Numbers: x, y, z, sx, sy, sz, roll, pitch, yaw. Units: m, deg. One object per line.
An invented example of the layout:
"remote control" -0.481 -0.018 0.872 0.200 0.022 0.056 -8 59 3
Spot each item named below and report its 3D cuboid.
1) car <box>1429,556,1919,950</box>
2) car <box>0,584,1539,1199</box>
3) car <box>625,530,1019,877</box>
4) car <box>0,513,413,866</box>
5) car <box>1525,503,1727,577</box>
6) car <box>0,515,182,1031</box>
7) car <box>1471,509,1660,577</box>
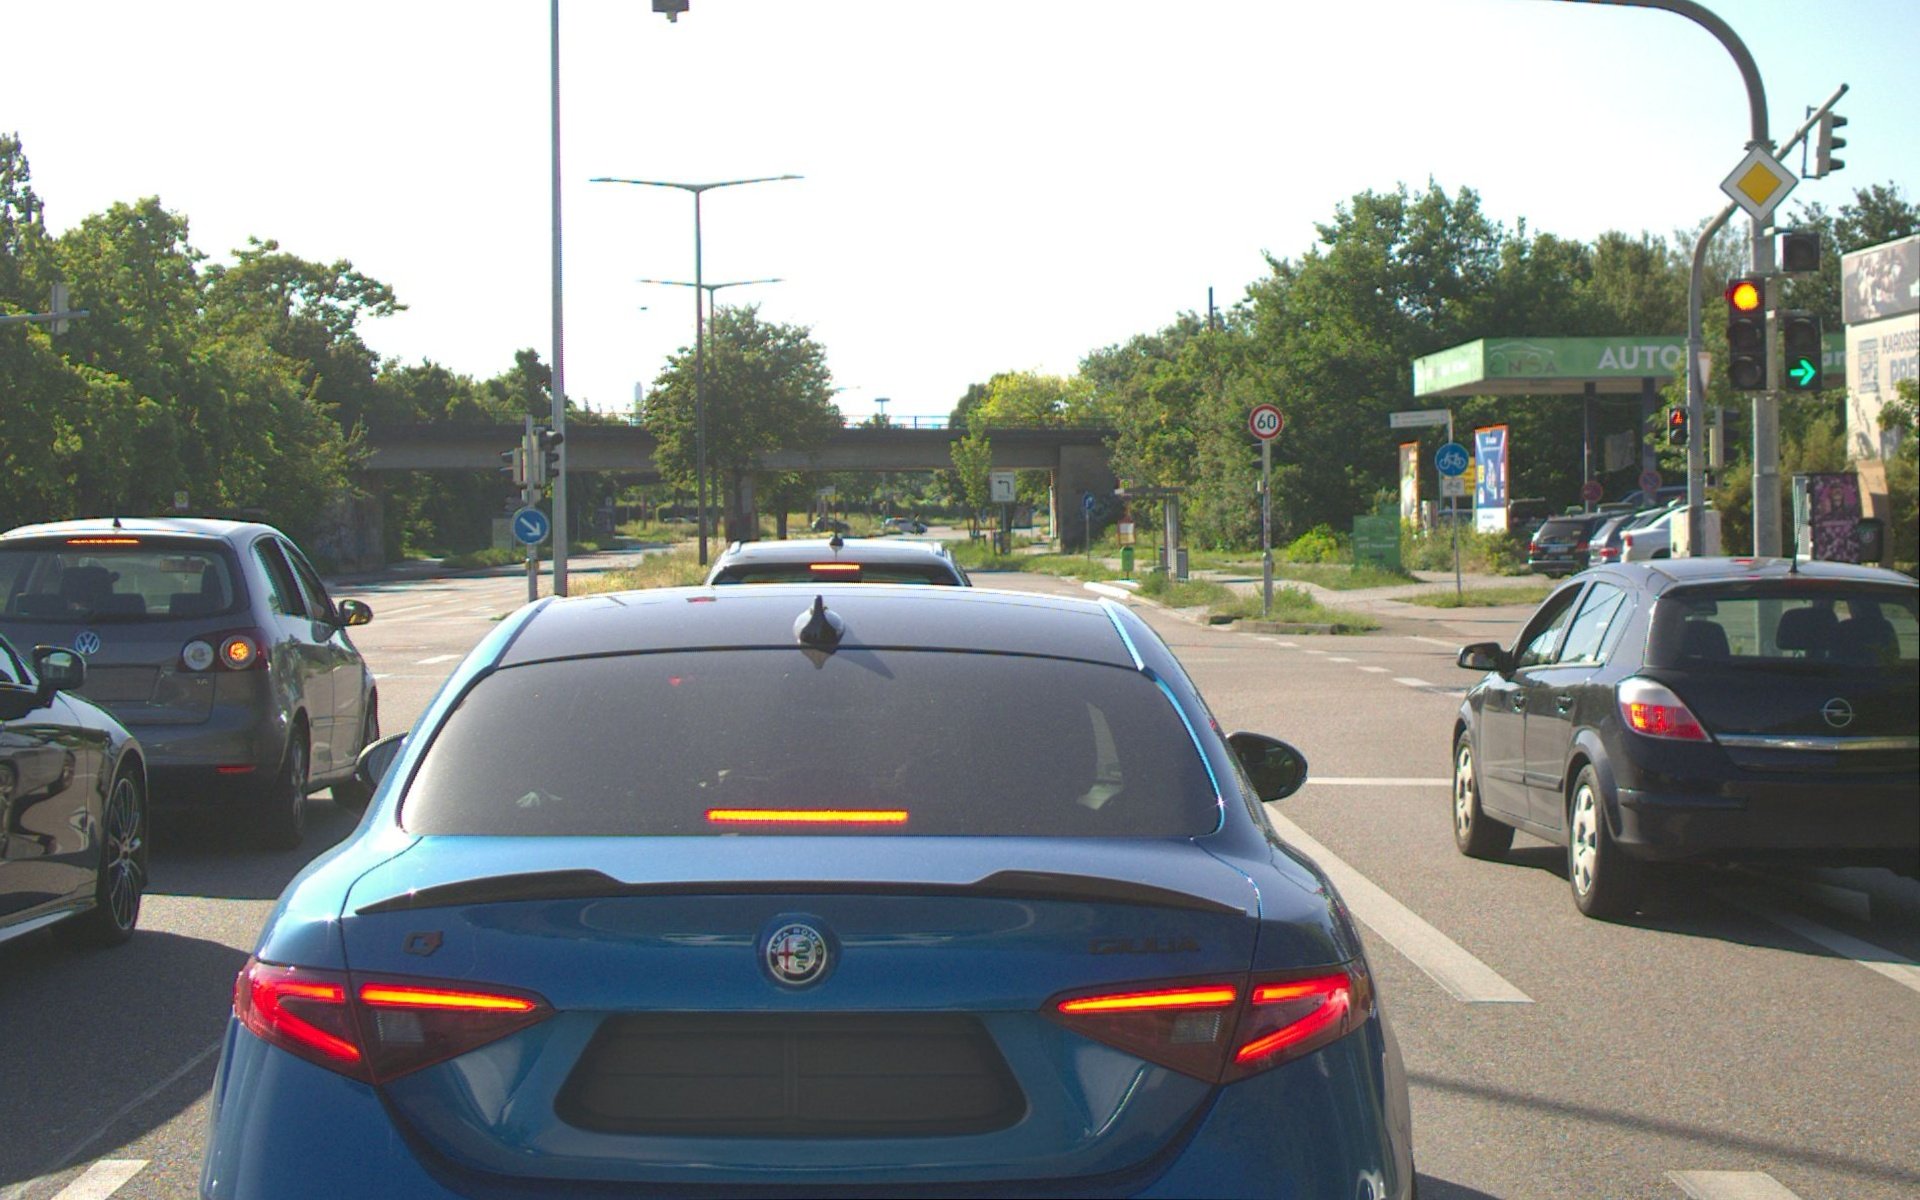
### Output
"car" 3.250 0.547 14.989 1.734 1.437 4.372 1 1 -1
"car" -0.217 0.702 6.117 1.910 1.418 3.719 1 1 1
"car" -0.573 0.437 16.926 1.704 1.492 3.719 1 0 1
"car" -3.959 0.373 17.417 1.812 1.546 4.354 1 1 -2
"car" 14.445 -1.294 74.691 3.987 1.547 2.000 1 0 1
"car" -3.781 0.506 10.621 1.812 1.546 4.544 0 1 -1
"car" 14.612 -1.373 83.038 3.986 1.547 2.001 1 0 -18
